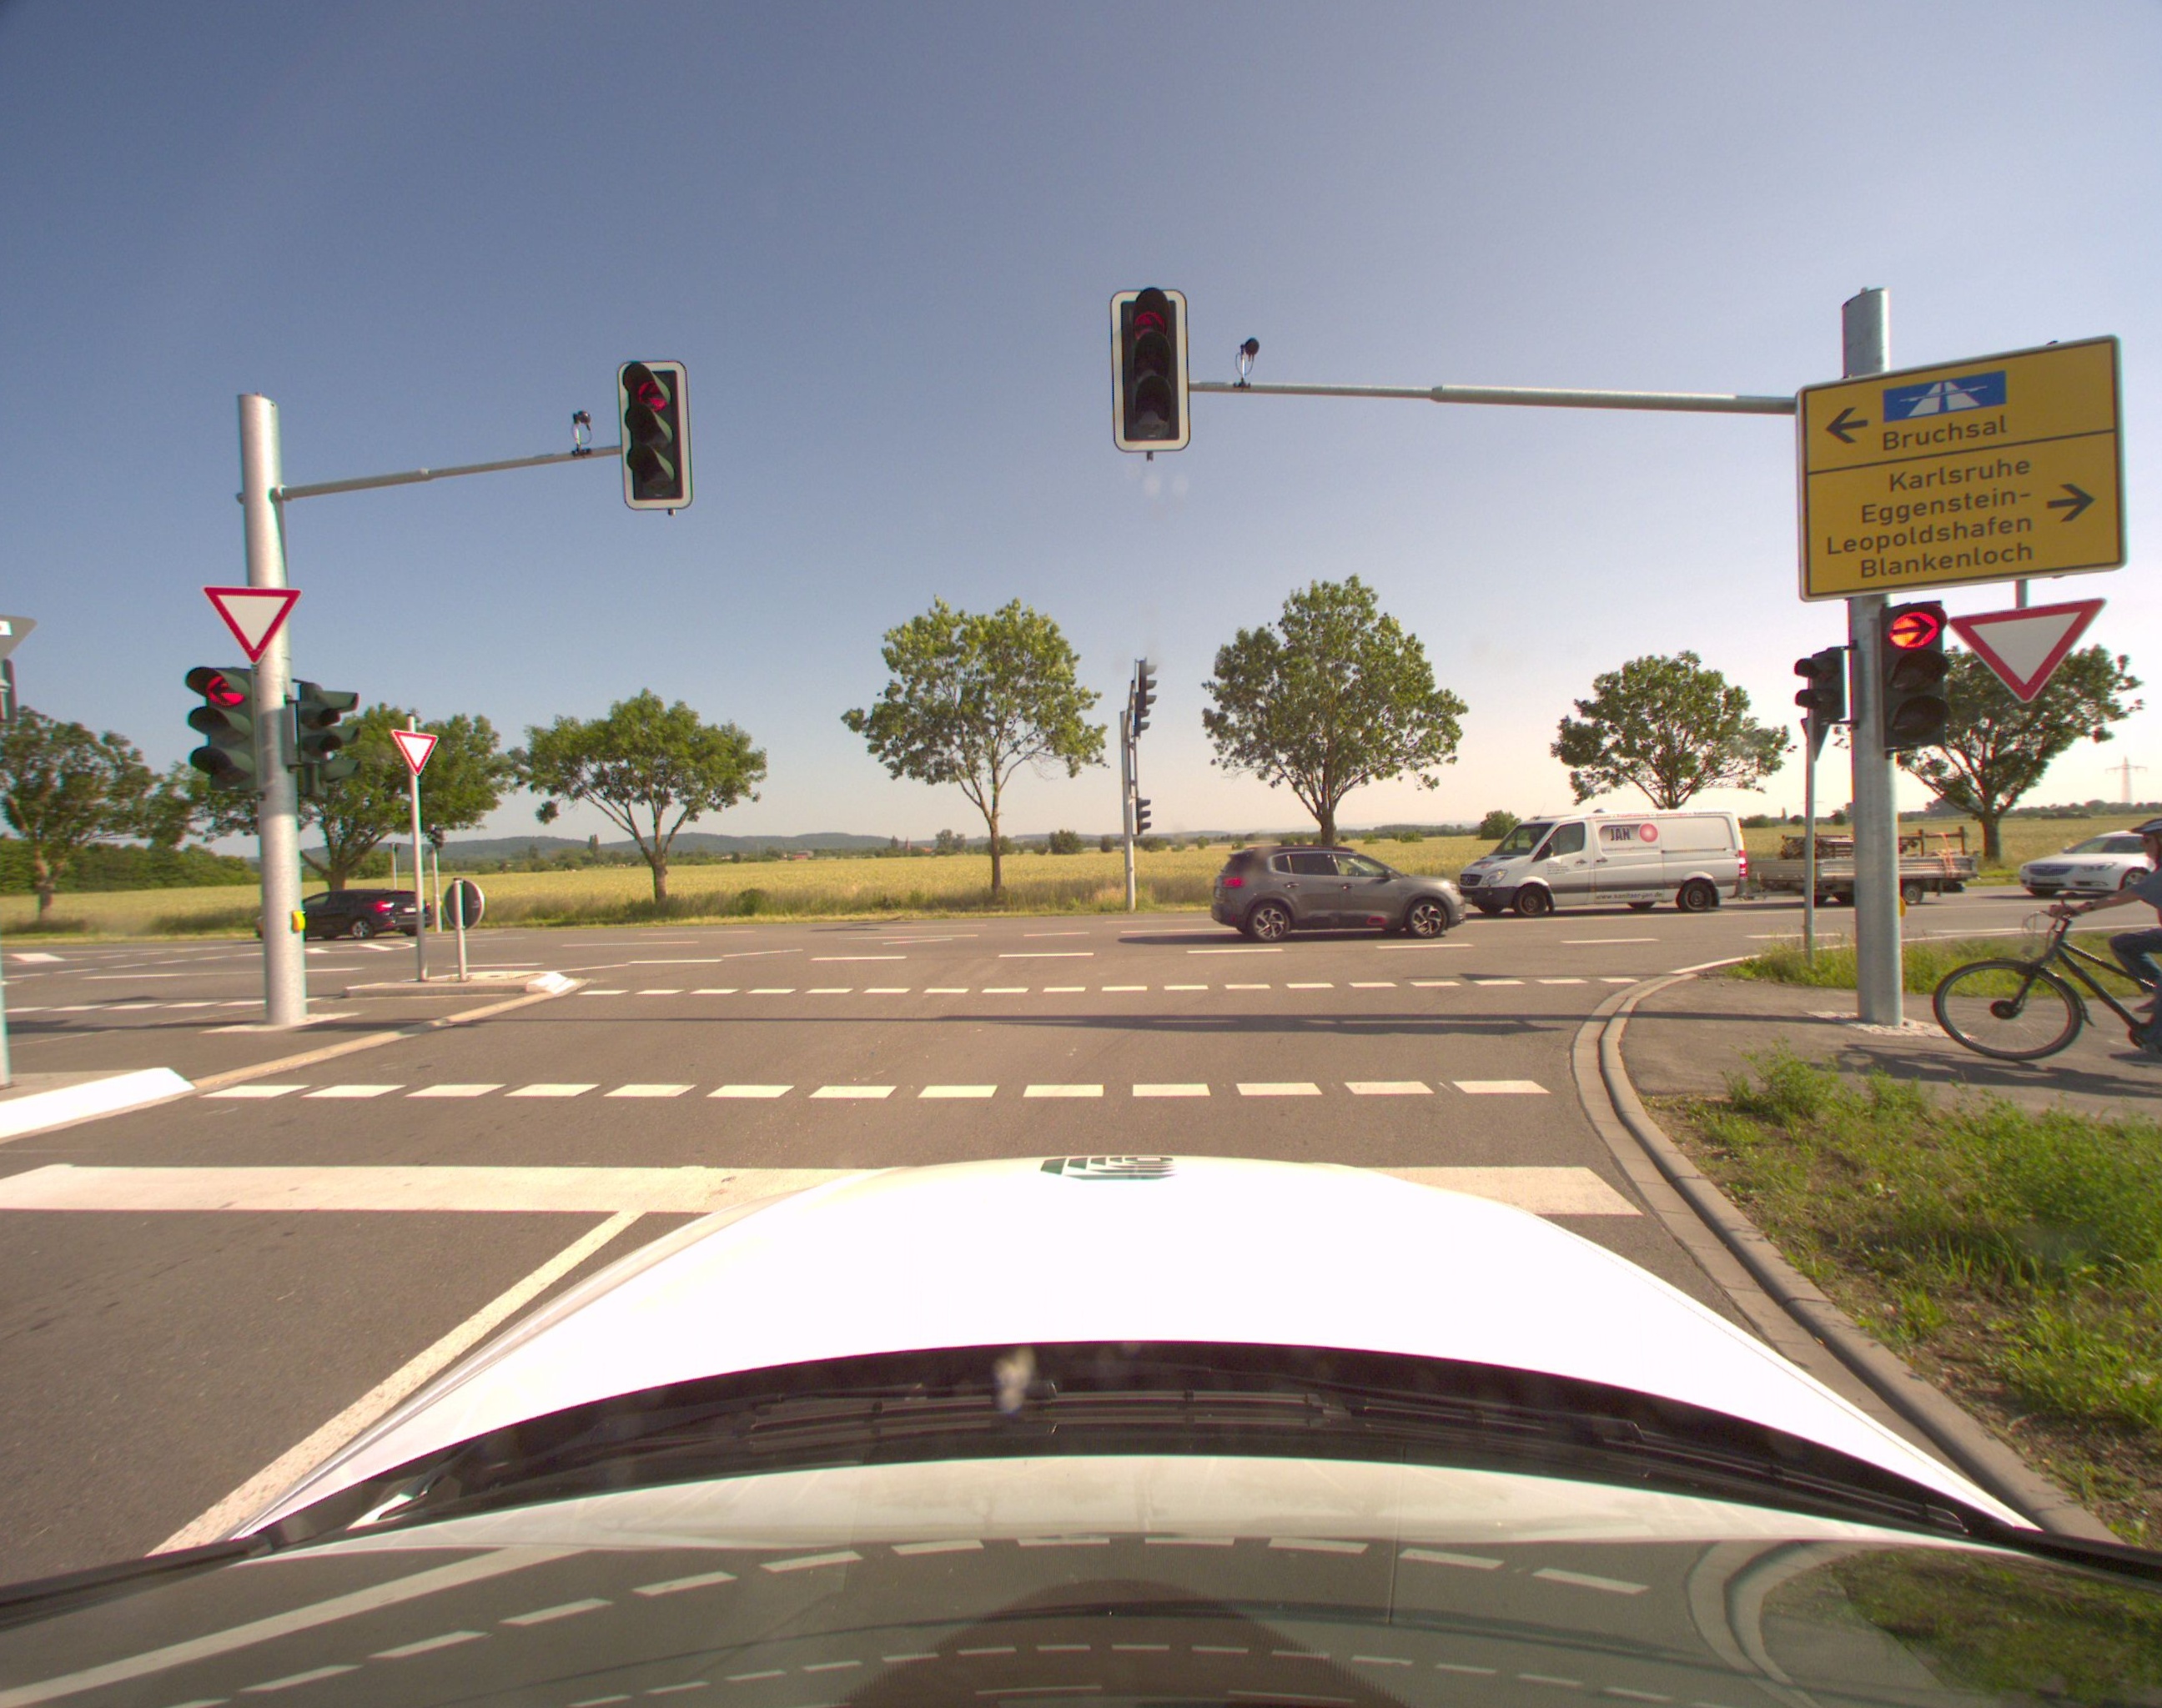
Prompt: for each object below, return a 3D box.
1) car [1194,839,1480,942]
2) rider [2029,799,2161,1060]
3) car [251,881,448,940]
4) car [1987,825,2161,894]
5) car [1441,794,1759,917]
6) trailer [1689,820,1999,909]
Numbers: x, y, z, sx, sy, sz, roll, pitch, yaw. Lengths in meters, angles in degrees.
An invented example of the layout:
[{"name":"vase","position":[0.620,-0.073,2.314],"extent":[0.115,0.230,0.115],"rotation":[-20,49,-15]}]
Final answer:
[{"name":"car","position":[4.506,0.627,14.875],"extent":[4.589,1.723,1.999],"rotation":[0,-1,-1]},{"name":"rider","position":[7.110,0.460,5.392],"extent":[0.978,1.643,0.826],"rotation":[-1,2,43]},{"name":"car","position":[-20.977,1.595,23.469],"extent":[3.967,1.501,2.003],"rotation":[-1,1,5]},{"name":"car","position":[24.656,0.120,19.082],"extent":[4.858,1.510,1.997],"rotation":[0,-1,-4]},{"name":"car","position":[11.671,0.045,18.637],"extent":[5.936,2.493,2.000],"rotation":[-2,-1,0]},{"name":"trailer","position":[17.292,0.230,18.649],"extent":[5.244,1.753,1.953],"rotation":[-2,-1,0]}]
